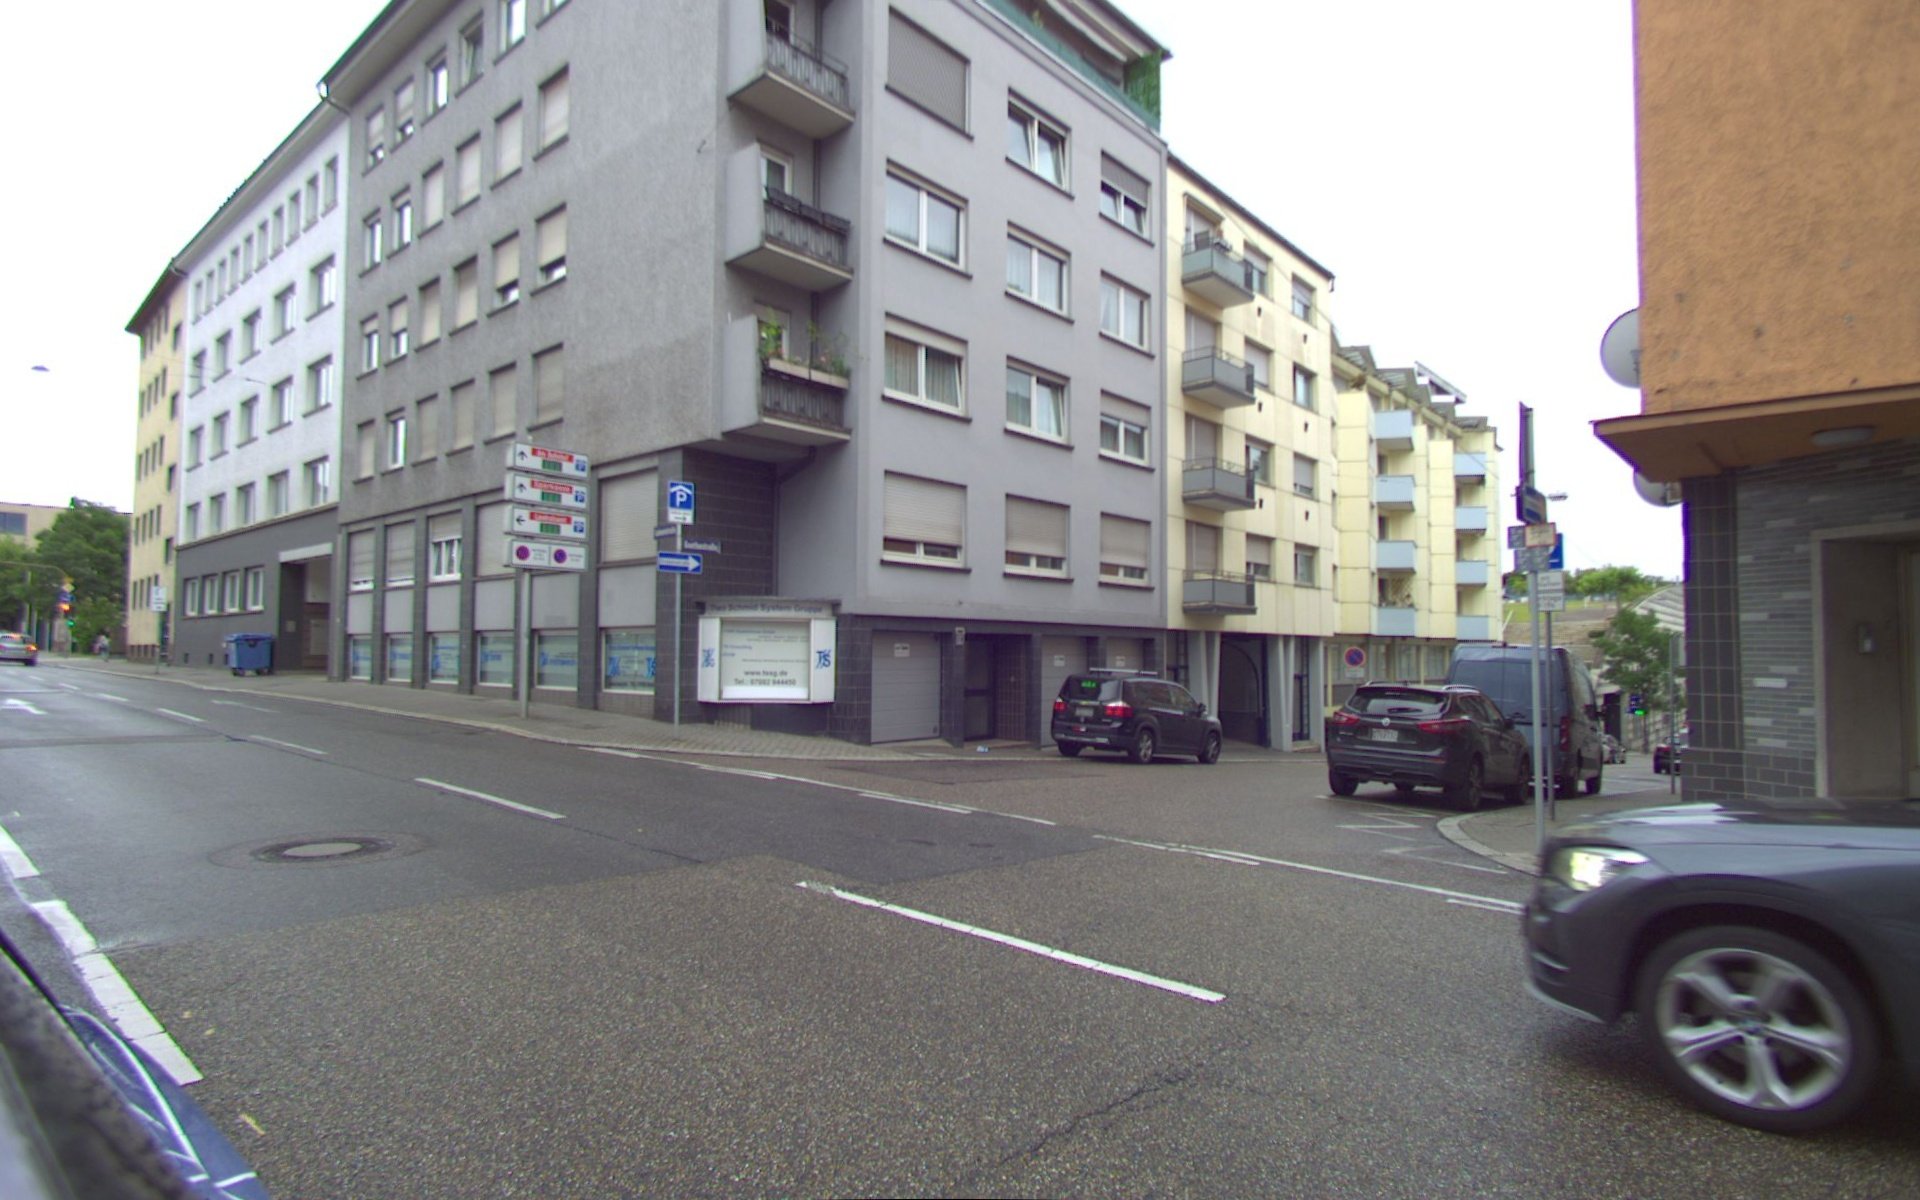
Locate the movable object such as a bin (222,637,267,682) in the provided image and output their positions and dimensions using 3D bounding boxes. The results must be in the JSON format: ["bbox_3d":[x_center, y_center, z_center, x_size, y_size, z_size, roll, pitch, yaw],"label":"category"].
[{"bbox_3d":[-22.809,1.874,32.253,1.096,1.343,0.933,-1,0,41],"label":"movable object such as a bin"}]

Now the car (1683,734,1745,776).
[{"bbox_3d":[31.239,6.413,41.900,1.722,1.506,3.998,-1,-8,41],"label":"car"}]

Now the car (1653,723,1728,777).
[{"bbox_3d":[26.113,5.366,36.127,1.817,1.688,3.998,-1,-8,41],"label":"car"}]

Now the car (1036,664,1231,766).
[{"bbox_3d":[3.490,2.291,19.782,1.794,1.700,4.186,-1,-8,41],"label":"car"}]

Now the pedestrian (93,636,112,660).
[{"bbox_3d":[-42.425,2.384,50.073,0.573,1.158,0.408,5,-5,-36],"label":"pedestrian"}]

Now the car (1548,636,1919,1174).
[{"bbox_3d":[4.162,0.914,2.804,4.157,1.519,1.685,-1,-5,41],"label":"car"}]

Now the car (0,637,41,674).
[{"bbox_3d":[-43.841,2.519,46.488,4.371,1.602,1.858,-1,-3,41],"label":"car"}]

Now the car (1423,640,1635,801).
[{"bbox_3d":[10.684,2.234,18.729,2.249,2.481,5.975,-1,-7,41],"label":"car"}]

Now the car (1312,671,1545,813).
[{"bbox_3d":[6.598,1.958,13.995,1.842,1.589,4.098,-1,-8,41],"label":"car"}]
